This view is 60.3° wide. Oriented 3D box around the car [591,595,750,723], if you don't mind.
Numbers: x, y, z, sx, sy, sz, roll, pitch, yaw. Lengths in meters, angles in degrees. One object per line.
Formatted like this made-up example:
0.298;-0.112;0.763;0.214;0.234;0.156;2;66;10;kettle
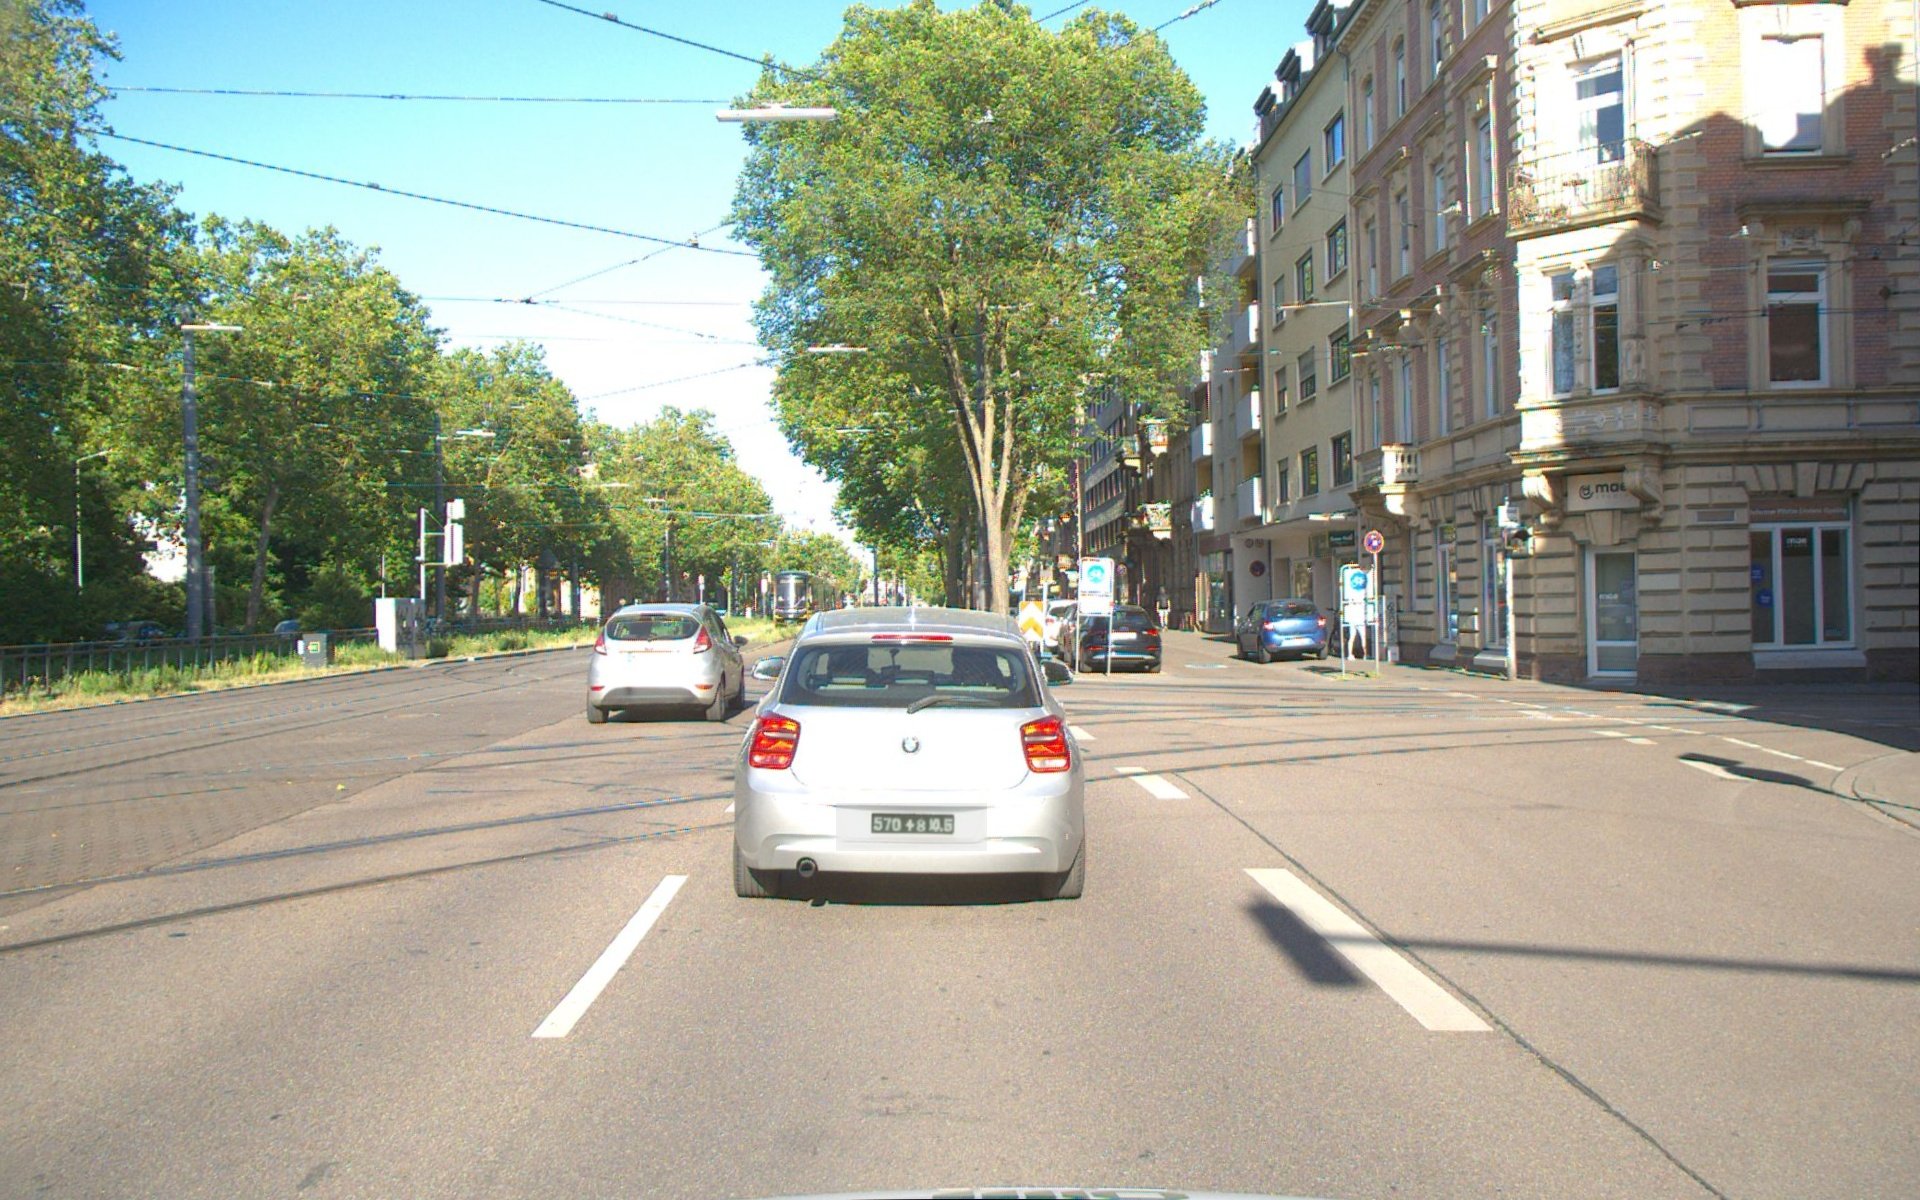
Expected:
-3.688;0.698;21.599;1.577;1.493;3.887;-1;0;-3;car

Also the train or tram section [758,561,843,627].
-10.235;-0.368;108.522;3.888;3.933;17.487;-1;0;0;train or tram section

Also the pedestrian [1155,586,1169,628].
8.911;0.318;72.911;0.495;1.833;0.805;-1;0;-1;pedestrian

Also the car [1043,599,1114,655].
3.380;0.740;47.609;1.690;1.533;3.554;0;0;-2;car

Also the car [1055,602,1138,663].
3.413;0.791;41.831;1.708;1.458;3.554;0;0;-2;car

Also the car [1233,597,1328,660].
8.173;0.707;42.473;1.700;1.546;3.636;0;0;-1;car

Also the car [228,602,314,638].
-30.470;0.887;73.281;1.897;1.536;4.847;-1;-1;-2;car

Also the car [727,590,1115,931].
-0.181;0.712;9.357;1.704;1.493;4.000;1;0;0;car

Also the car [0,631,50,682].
-30.053;1.732;50.840;1.897;1.536;4.277;-1;-1;-2;car

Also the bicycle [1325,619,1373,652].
10.007;0.907;42.613;0.739;0.784;1.945;-1;0;-2;bicycle

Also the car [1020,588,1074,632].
3.155;0.359;60.465;1.690;1.533;3.554;0;0;-2;car

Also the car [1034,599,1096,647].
3.412;0.731;54.175;1.690;1.533;3.554;0;0;-2;car

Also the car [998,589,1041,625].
2.609;0.314;72.935;1.690;1.533;3.554;0;0;-2;car

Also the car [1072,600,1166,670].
3.463;0.744;36.564;1.700;1.458;3.677;0;0;0;car
